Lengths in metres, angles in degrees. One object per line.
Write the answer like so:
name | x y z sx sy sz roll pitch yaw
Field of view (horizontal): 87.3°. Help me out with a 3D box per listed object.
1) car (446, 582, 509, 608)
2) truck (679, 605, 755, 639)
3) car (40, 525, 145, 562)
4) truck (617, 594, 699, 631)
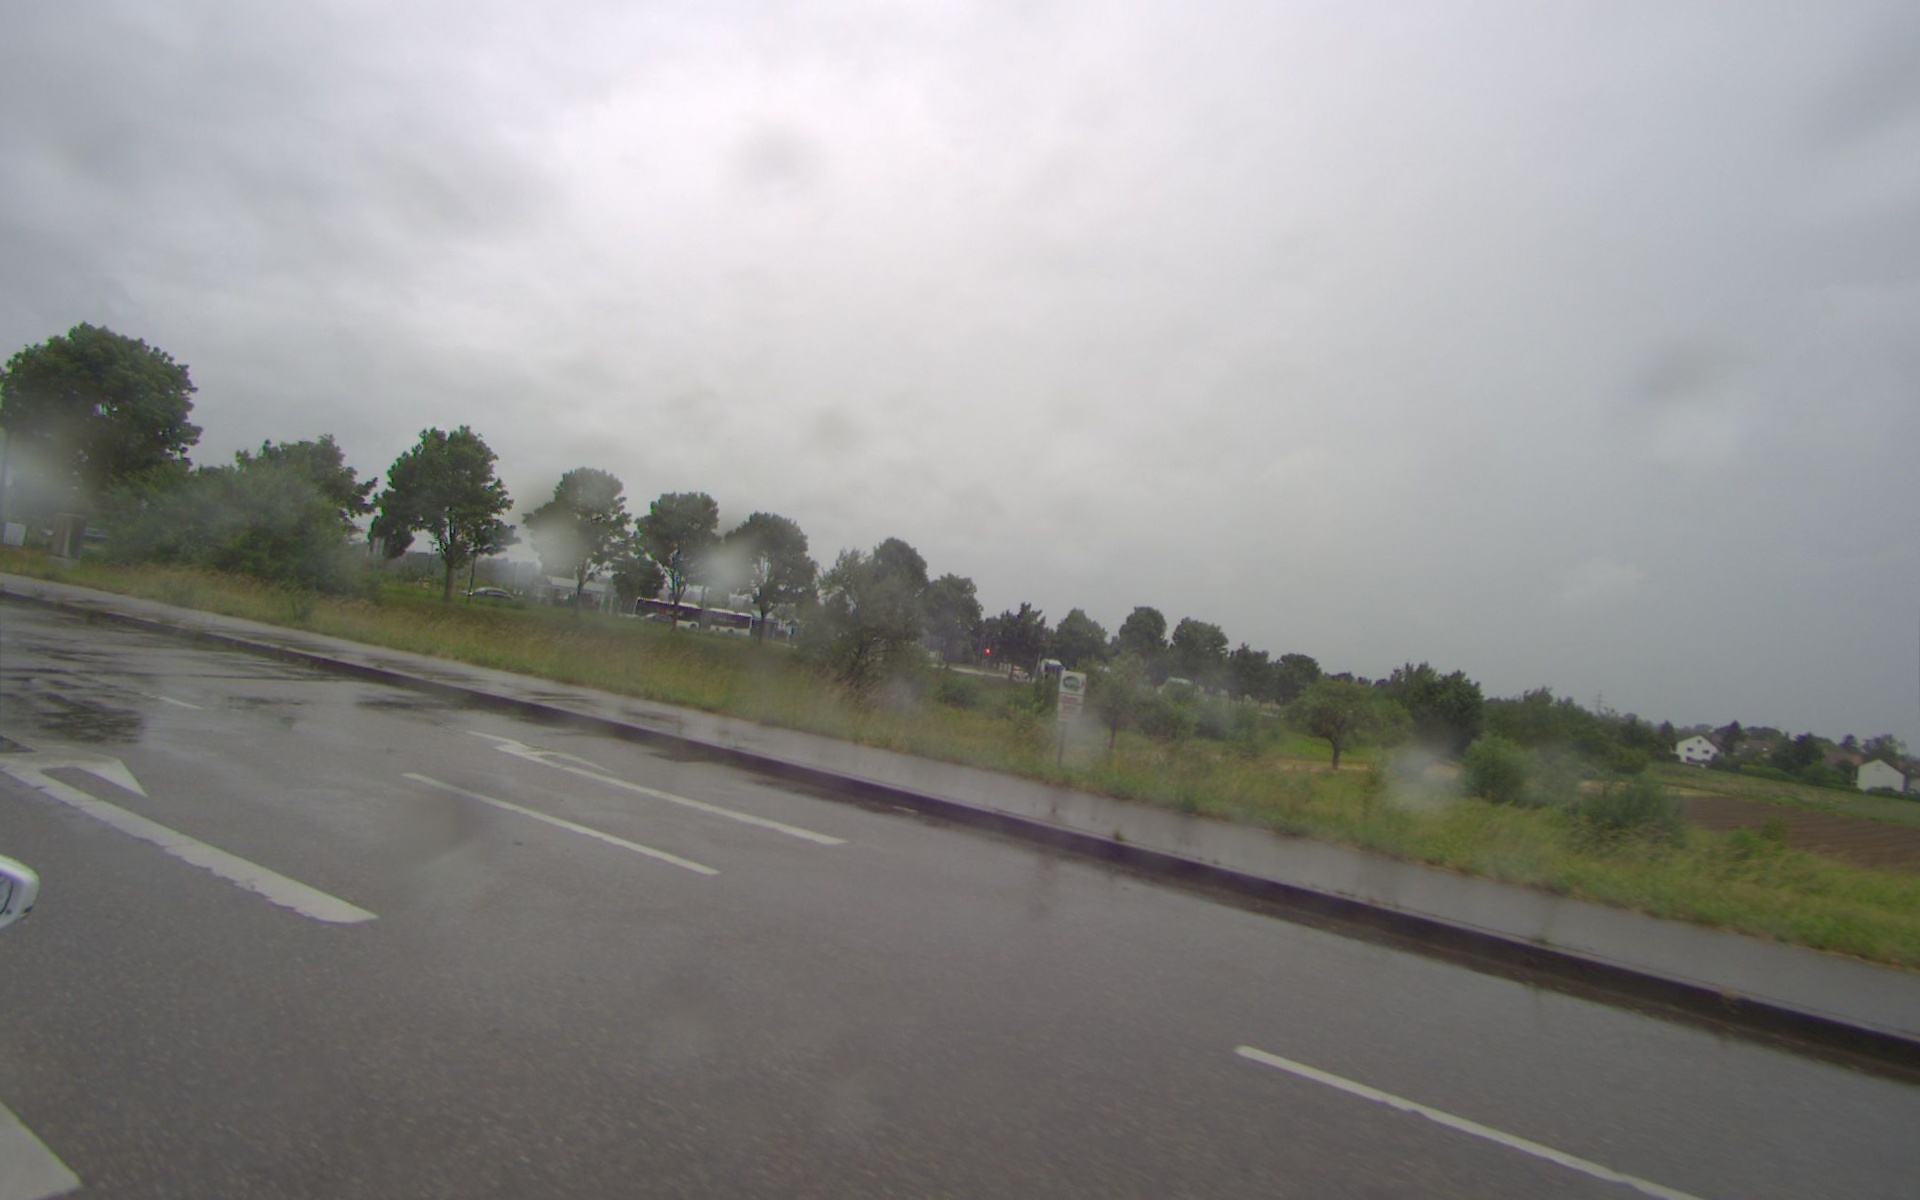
car | -41.998 -0.419 87.655 1.791 1.571 4.683 7 -2 28
truck | -28.325 2.603 117.840 2.612 2.802 9.347 7 -3 31
car | -56.031 -3.618 65.081 1.792 1.571 4.681 7 -2 30
truck | -32.908 1.422 110.104 2.611 2.863 8.842 7 -3 31
